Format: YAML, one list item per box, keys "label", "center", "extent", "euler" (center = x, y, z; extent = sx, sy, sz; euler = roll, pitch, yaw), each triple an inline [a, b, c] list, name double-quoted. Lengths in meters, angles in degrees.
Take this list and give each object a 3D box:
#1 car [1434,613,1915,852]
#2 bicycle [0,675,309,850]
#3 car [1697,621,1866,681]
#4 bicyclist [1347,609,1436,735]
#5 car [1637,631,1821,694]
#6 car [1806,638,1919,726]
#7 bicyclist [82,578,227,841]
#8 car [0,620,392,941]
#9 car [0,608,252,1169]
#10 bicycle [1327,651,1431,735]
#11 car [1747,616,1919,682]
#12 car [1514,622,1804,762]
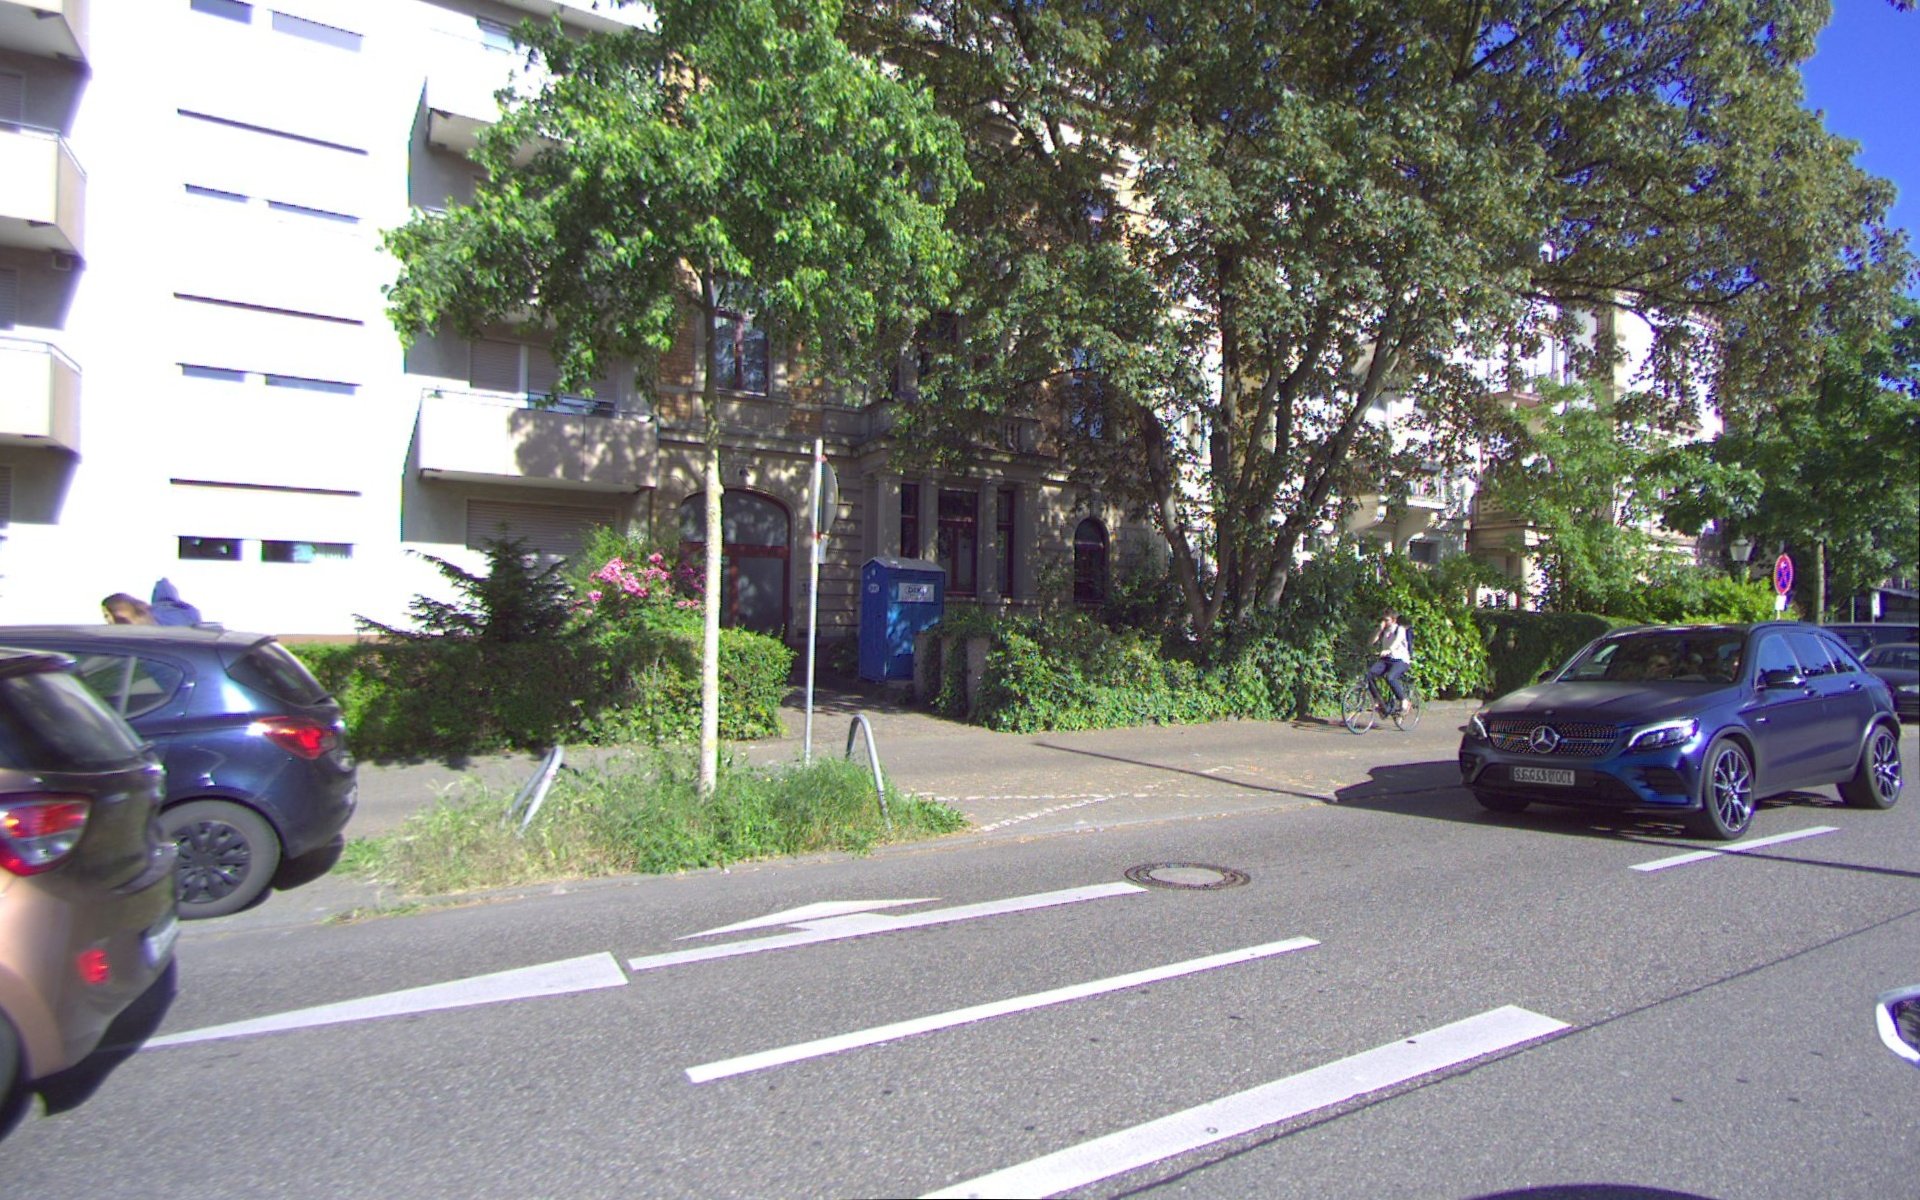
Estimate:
- label: "car"
  center: [6.351, 1.005, 8.826]
  extent: [4.350, 1.634, 1.828]
  euler: [1, -4, -31]
- label: "bicycle"
  center: [-5.742, 1.110, 7.224]
  extent: [1.723, 1.087, 0.606]
  euler: [2, -2, -30]
- label: "car"
  center: [24.855, 1.498, 30.566]
  extent: [3.857, 1.666, 1.674]
  euler: [0, 0, 37]
- label: "bicyclist"
  center: [6.382, 1.040, 14.838]
  extent: [1.194, 1.790, 0.579]
  euler: [1, 1, -31]
- label: "car"
  center: [20.876, 1.656, 27.481]
  extent: [3.853, 1.508, 1.628]
  euler: [0, 0, 33]
- label: "car"
  center: [18.043, 1.496, 19.166]
  extent: [4.042, 1.435, 1.629]
  euler: [1, 0, -30]
- label: "bicyclist"
  center: [-5.763, 0.754, 7.228]
  extent: [0.683, 1.777, 0.606]
  euler: [1, -1, -30]
- label: "car"
  center: [-5.278, 0.870, 5.310]
  extent: [3.883, 1.496, 1.595]
  euler: [2, -1, -29]
- label: "car"
  center: [-4.186, 0.771, 2.581]
  extent: [3.702, 1.470, 1.574]
  euler: [1, -4, -31]
- label: "bicycle"
  center: [6.153, 1.336, 14.717]
  extent: [1.744, 1.131, 0.446]
  euler: [1, 1, -31]
- label: "car"
  center: [27.636, 1.491, 31.719]
  extent: [4.257, 1.904, 1.873]
  euler: [0, 0, 35]
- label: "car"
  center: [9.561, 1.146, 13.645]
  extent: [4.298, 1.609, 1.616]
  euler: [1, 0, -31]
